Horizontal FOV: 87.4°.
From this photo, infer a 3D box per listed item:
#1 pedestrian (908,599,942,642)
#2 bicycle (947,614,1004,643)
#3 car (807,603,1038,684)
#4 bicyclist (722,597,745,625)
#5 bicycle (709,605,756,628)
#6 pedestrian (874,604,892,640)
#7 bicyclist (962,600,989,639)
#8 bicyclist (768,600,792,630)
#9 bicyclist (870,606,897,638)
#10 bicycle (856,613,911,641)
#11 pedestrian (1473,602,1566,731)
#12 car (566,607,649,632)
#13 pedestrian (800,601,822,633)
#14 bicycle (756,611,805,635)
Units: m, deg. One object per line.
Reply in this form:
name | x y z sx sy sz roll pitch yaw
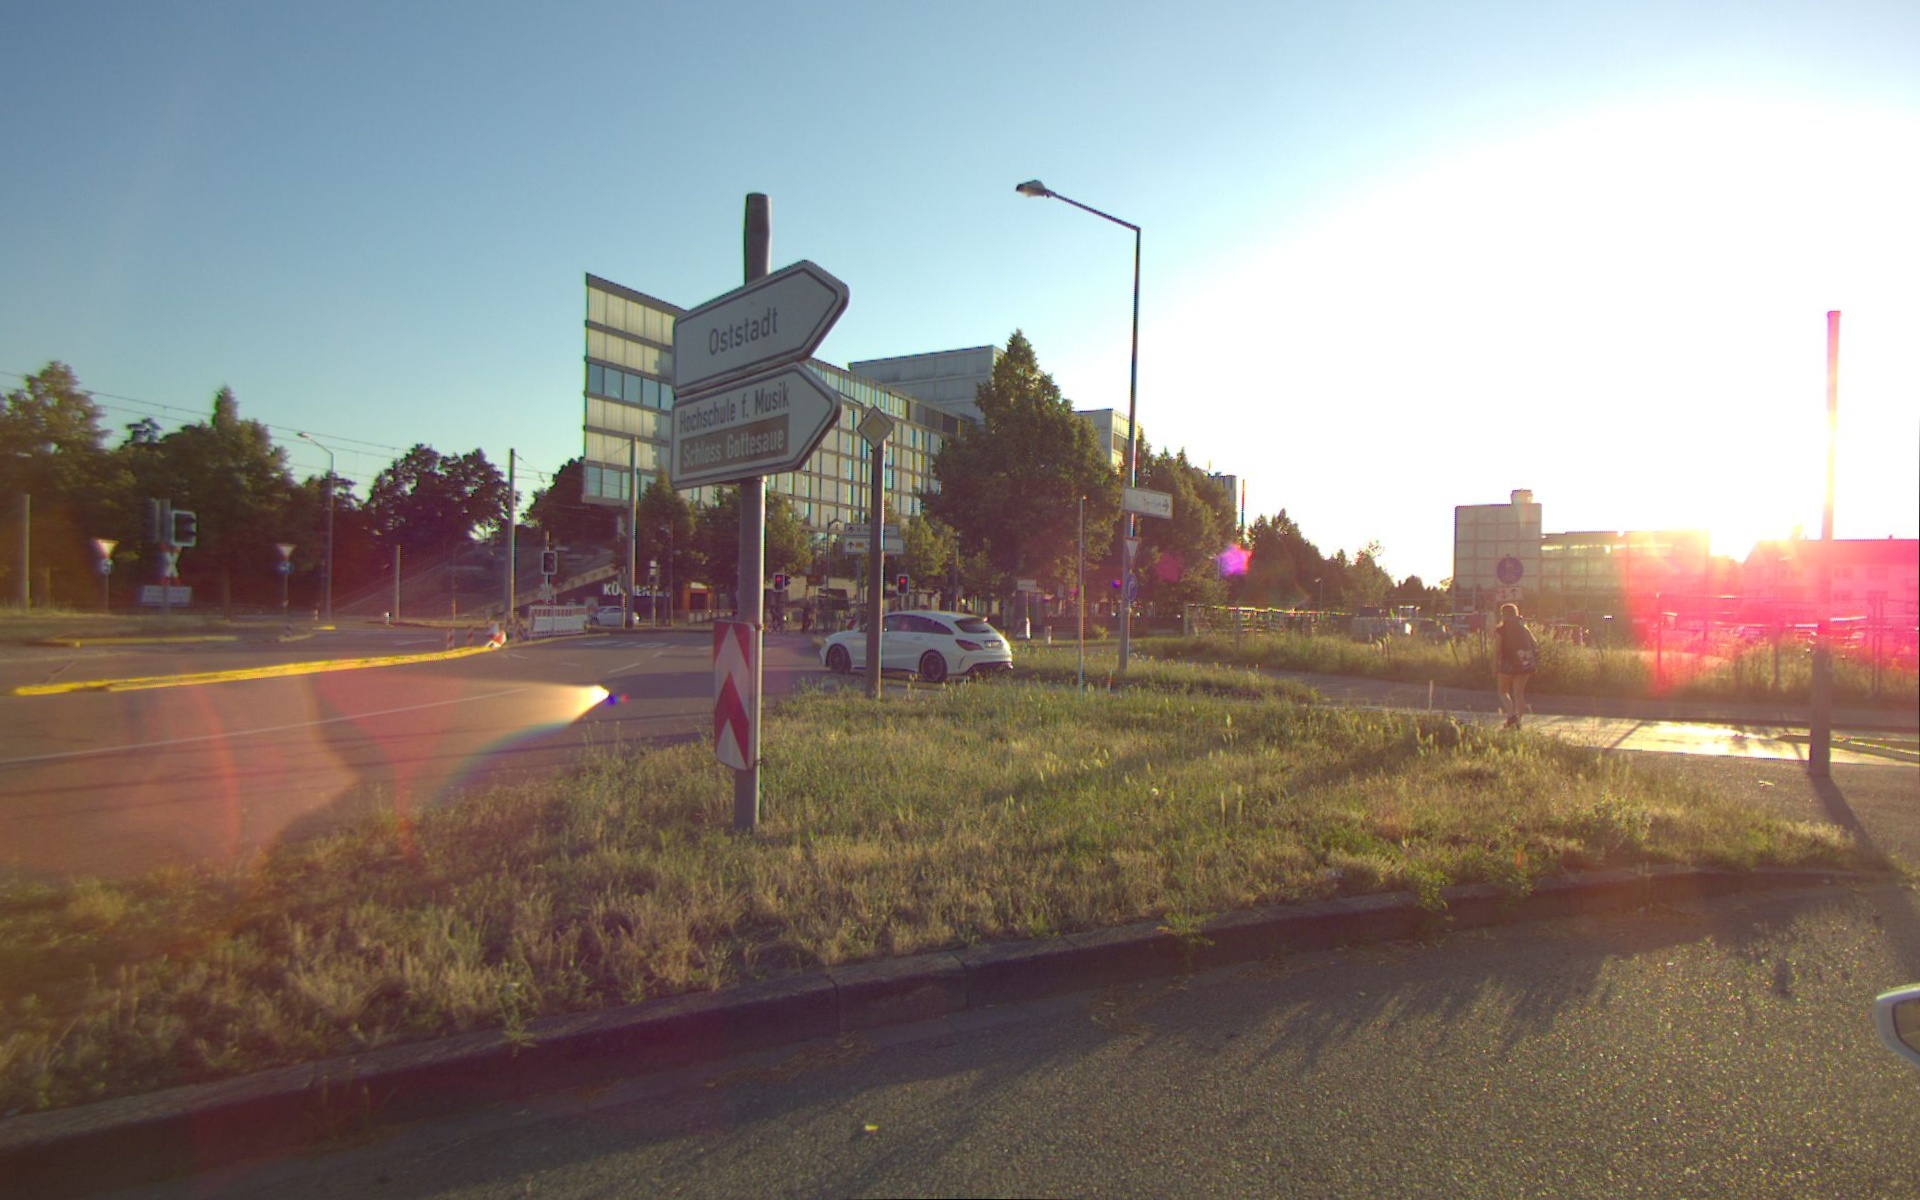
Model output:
pedestrian | -1.532 0.906 44.158 0.971 1.851 1.149 1 0 -38
bicycle | 0.675 1.236 43.652 2.362 1.182 0.754 1 0 19
car | -0.844 0.881 21.386 4.579 1.472 2.069 1 -1 35
bicyclist | -11.909 0.587 52.780 0.862 1.411 0.754 1 0 20
bicycle | -11.957 0.863 52.772 2.362 1.182 0.754 1 0 21
pedestrian | -3.759 1.092 49.249 0.779 1.730 0.888 1 0 0
bicyclist | 0.677 0.839 43.629 0.958 1.634 0.755 1 0 19
bicyclist | -9.304 0.764 51.948 0.959 1.545 0.755 1 0 17
bicyclist | -3.460 0.977 45.428 0.959 1.412 0.754 1 0 22
bicycle | -3.460 1.203 45.452 2.363 1.182 0.754 1 0 22
pedestrian | 7.741 0.890 13.943 0.829 1.709 0.887 1 0 8
car | -23.852 1.329 68.082 1.965 1.565 5.189 1 -1 32
pedestrian | -8.074 0.917 54.581 0.871 1.730 0.794 1 0 23
bicycle | -9.289 1.179 51.937 2.361 1.182 0.755 1 0 18
